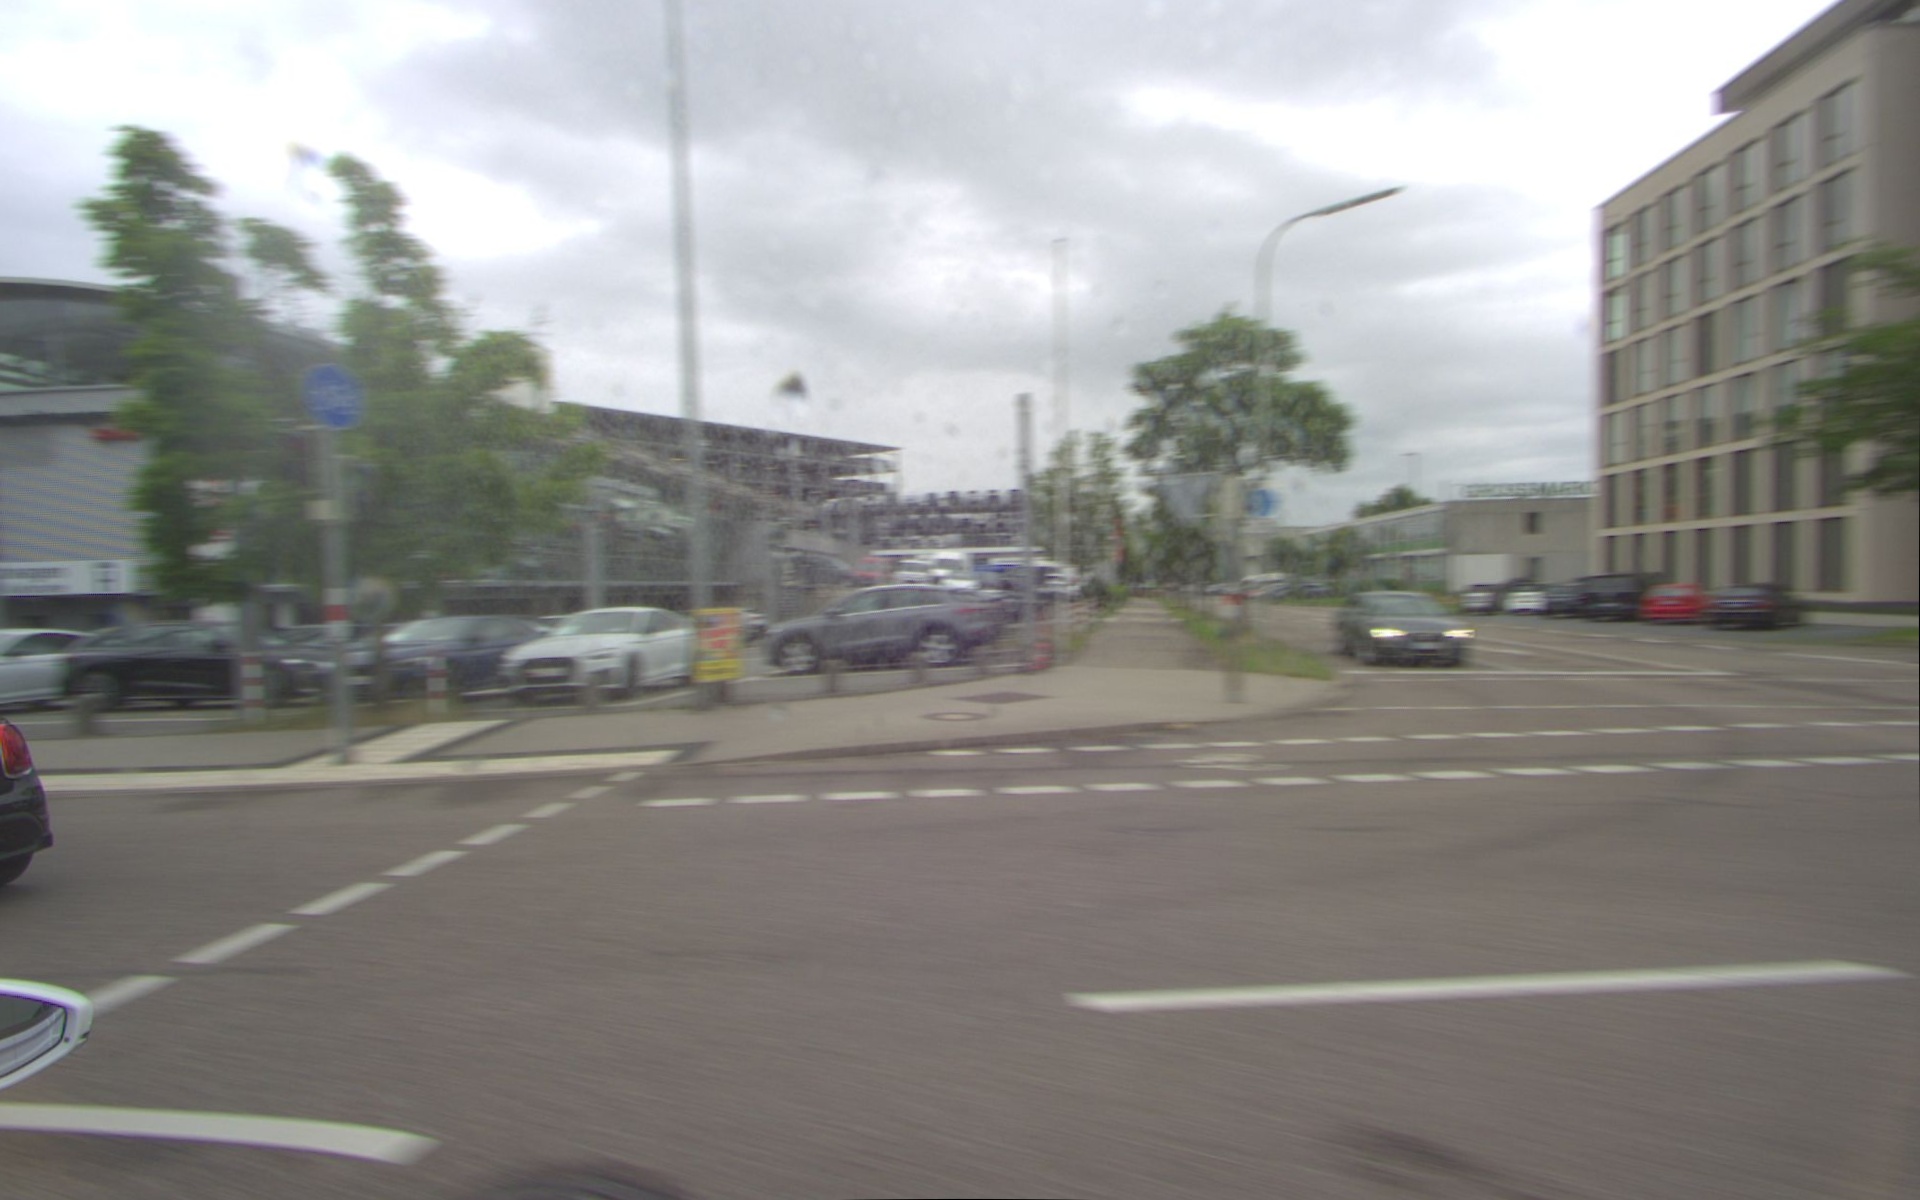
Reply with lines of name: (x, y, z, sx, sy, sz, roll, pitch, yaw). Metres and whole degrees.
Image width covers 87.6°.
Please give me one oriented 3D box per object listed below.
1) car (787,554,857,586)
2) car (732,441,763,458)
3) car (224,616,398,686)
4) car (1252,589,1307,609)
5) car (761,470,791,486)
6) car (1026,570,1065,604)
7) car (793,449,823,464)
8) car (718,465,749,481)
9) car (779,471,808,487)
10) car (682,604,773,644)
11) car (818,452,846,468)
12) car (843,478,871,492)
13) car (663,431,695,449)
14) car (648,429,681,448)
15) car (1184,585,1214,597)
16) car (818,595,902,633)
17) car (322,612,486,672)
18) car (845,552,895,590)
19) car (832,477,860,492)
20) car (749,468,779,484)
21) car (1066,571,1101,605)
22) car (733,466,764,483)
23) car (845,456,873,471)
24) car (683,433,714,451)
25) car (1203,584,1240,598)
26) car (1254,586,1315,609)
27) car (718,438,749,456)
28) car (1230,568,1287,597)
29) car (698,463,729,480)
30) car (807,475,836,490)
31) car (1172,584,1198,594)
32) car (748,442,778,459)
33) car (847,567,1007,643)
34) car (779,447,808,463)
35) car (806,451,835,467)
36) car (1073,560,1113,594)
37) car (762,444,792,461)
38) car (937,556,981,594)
car: (-8.370, -1.822, 60.842, 3.922, 1.862, 1.759, 1, 0, 6)
car: (-28.138, -19.917, 132.587, 3.952, 1.690, 1.984, 1, 1, 41)
car: (-17.842, 1.342, 27.812, 1.775, 1.718, 4.318, 1, 0, 5)
car: (31.041, -0.092, 97.260, 4.708, 1.916, 2.143, 1, 0, 6)
car: (-25.004, -16.634, 136.281, 3.952, 1.690, 1.984, 1, 1, 41)
car: (4.449, -0.647, 52.186, 1.961, 1.639, 3.999, 1, 0, 5)
car: (-21.378, -20.153, 140.728, 3.952, 1.690, 1.984, 1, 1, 41)
car: (-29.613, -16.567, 130.752, 3.952, 1.690, 1.984, 1, 1, 41)
car: (-23.060, -16.734, 138.576, 3.952, 1.690, 1.984, 1, 1, 41)
car: (-11.171, 1.139, 48.209, 3.922, 1.862, 1.759, 1, 0, 3)
car: (-18.538, -20.227, 144.942, 3.952, 1.690, 1.984, 1, 1, 41)
car: (-15.360, -17.014, 148.708, 3.952, 1.690, 1.984, 1, 1, 41)
car: (-34.995, -19.912, 124.629, 3.952, 1.690, 1.984, 1, 1, 41)
car: (-36.236, -19.782, 122.752, 3.952, 1.690, 1.984, 1, 1, 41)
car: (40.312, -1.568, 169.122, 4.708, 1.916, 2.143, 1, 0, 6)
car: (-4.720, 0.672, 48.053, 1.893, 1.680, 4.429, -2, -1, 27)
car: (-15.271, 1.157, 27.806, 1.891, 1.505, 4.265, 1, -2, 5)
car: (-4.773, -1.509, 53.544, 1.961, 1.873, 3.999, 1, 0, 5)
car: (-16.718, -16.956, 146.940, 3.952, 1.690, 1.984, 1, 1, 41)
car: (-26.414, -16.632, 134.626, 3.952, 1.690, 1.984, 1, 1, 41)
car: (7.759, -0.723, 63.274, 1.961, 2.040, 3.999, 1, 0, 5)
car: (-28.002, -16.605, 132.651, 3.952, 1.690, 1.984, 1, 1, 41)
car: (-15.065, -20.325, 148.767, 3.952, 1.690, 1.984, 1, 1, 41)
car: (-33.087, -19.982, 126.755, 3.952, 1.690, 1.984, 1, 1, 41)
car: (36.652, -1.293, 140.194, 4.708, 1.916, 2.143, 1, 0, 6)
car: (30.410, -0.244, 94.059, 5.090, 2.040, 2.143, 1, 0, 6)
car: (-29.553, -19.942, 130.770, 3.952, 1.690, 1.984, 1, 1, 41)
car: (34.604, -2.011, 116.248, 6.018, 3.158, 2.133, 1, 1, 7)
car: (-31.721, -16.485, 128.824, 3.952, 1.690, 1.984, 1, 1, 41)
car: (-19.708, -16.786, 142.870, 3.952, 1.690, 1.984, 1, 1, 41)
car: (43.562, -2.184, 194.069, 4.708, 1.916, 2.143, 1, 0, 6)
car: (-26.452, -20.074, 134.650, 3.952, 1.690, 1.984, 1, 1, 41)
car: (-0.954, 0.155, 30.842, 4.695, 2.040, 2.000, -3, 0, 2)
car: (-23.037, -20.100, 138.658, 3.952, 1.690, 1.984, 1, 1, 41)
car: (-19.947, -20.170, 143.161, 3.952, 1.690, 1.984, 1, 1, 41)
car: (6.937, -1.189, 52.544, 1.961, 1.639, 3.999, 1, 0, 6)
car: (-24.939, -20.040, 136.261, 3.952, 1.690, 1.984, 1, 1, 41)
car: (-0.006, -1.288, 52.697, 1.961, 1.847, 3.999, 1, 0, 5)
